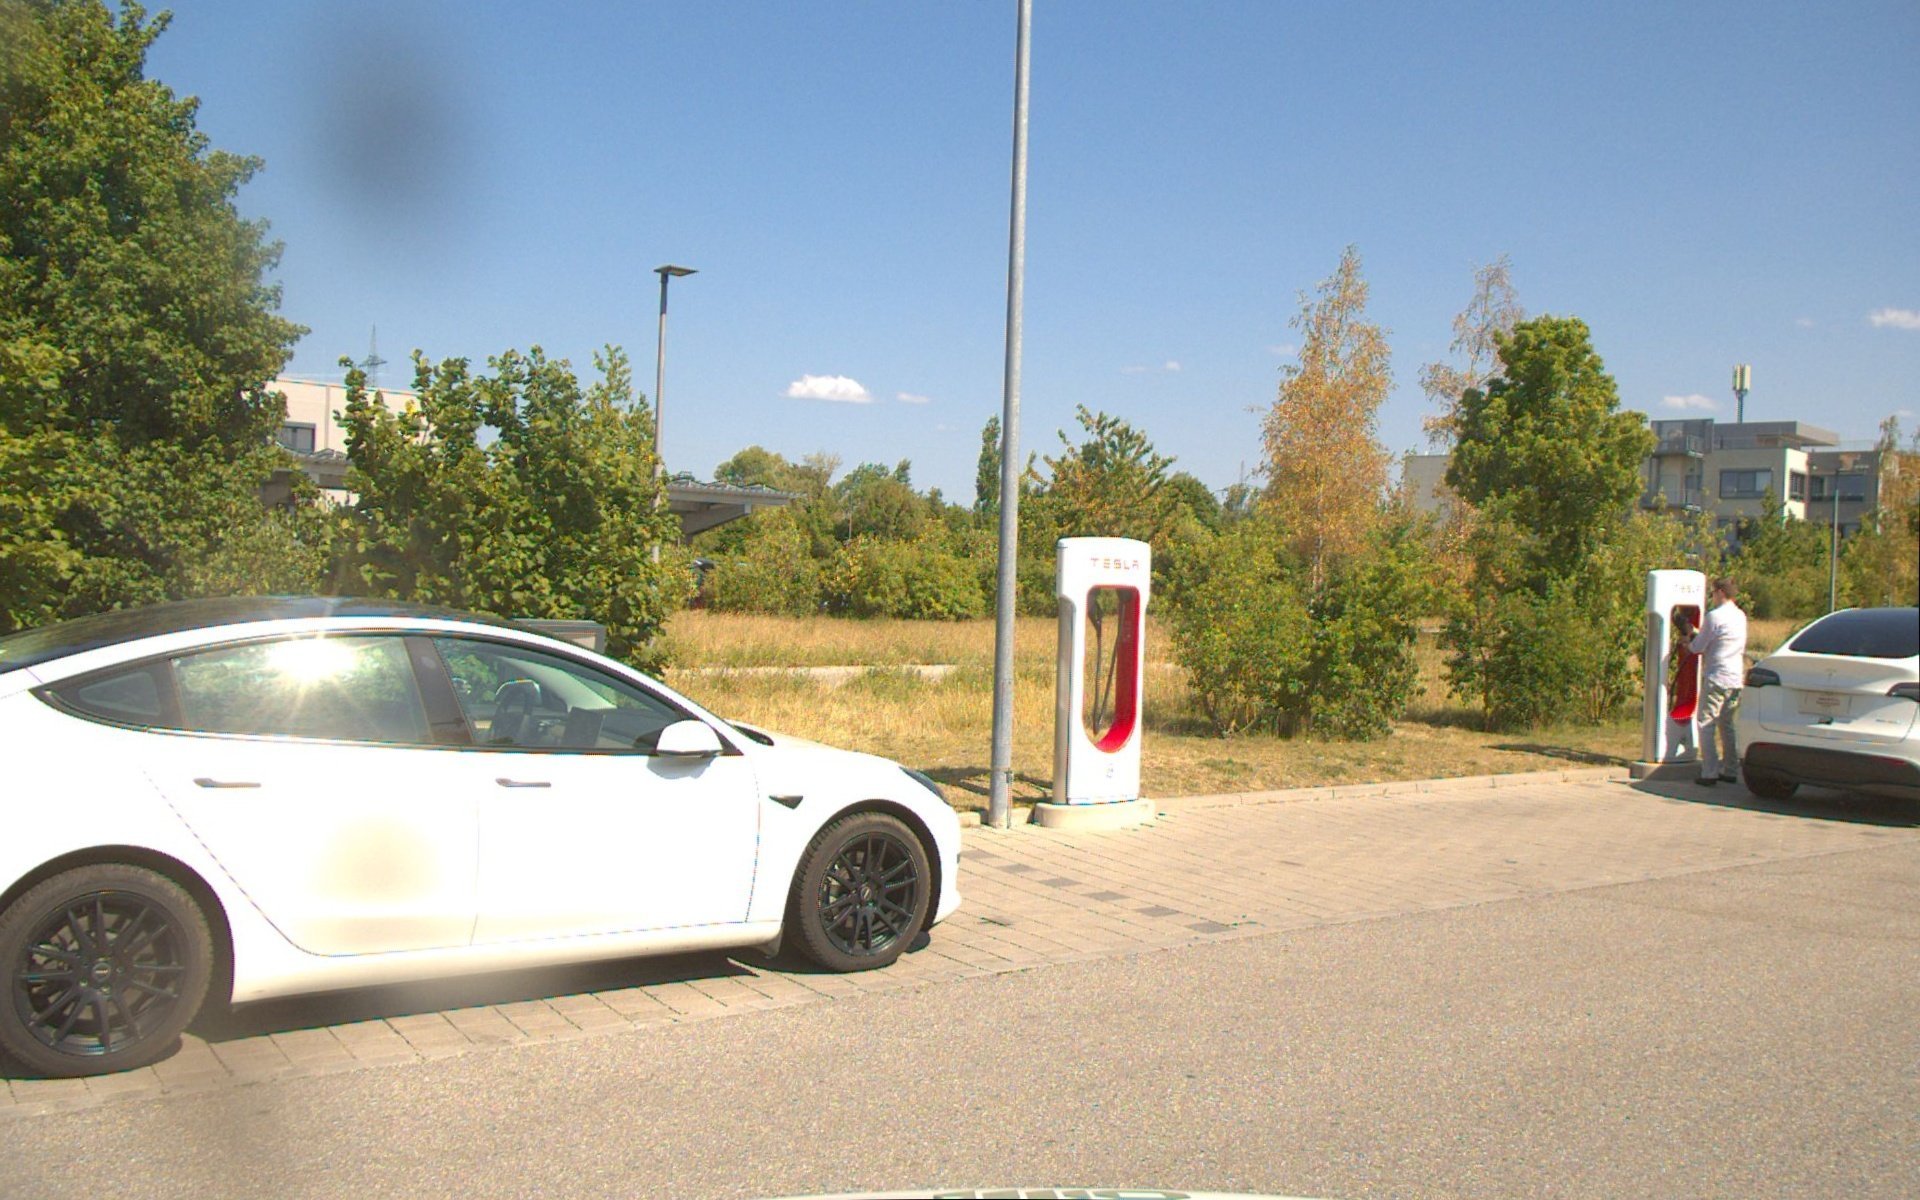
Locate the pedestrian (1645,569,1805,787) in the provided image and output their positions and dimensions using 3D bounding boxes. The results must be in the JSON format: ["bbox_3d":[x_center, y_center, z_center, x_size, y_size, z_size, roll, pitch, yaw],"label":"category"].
[{"bbox_3d":[6.790,0.662,14.696,0.729,1.831,1.022,1,1,-37],"label":"pedestrian"}]

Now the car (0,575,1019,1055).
[{"bbox_3d":[-2.075,0.653,6.540,4.394,1.401,1.802,1,1,-34],"label":"car"}]

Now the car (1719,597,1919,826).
[{"bbox_3d":[8.475,0.851,13.975,4.440,1.628,1.846,1,1,-37],"label":"car"}]
